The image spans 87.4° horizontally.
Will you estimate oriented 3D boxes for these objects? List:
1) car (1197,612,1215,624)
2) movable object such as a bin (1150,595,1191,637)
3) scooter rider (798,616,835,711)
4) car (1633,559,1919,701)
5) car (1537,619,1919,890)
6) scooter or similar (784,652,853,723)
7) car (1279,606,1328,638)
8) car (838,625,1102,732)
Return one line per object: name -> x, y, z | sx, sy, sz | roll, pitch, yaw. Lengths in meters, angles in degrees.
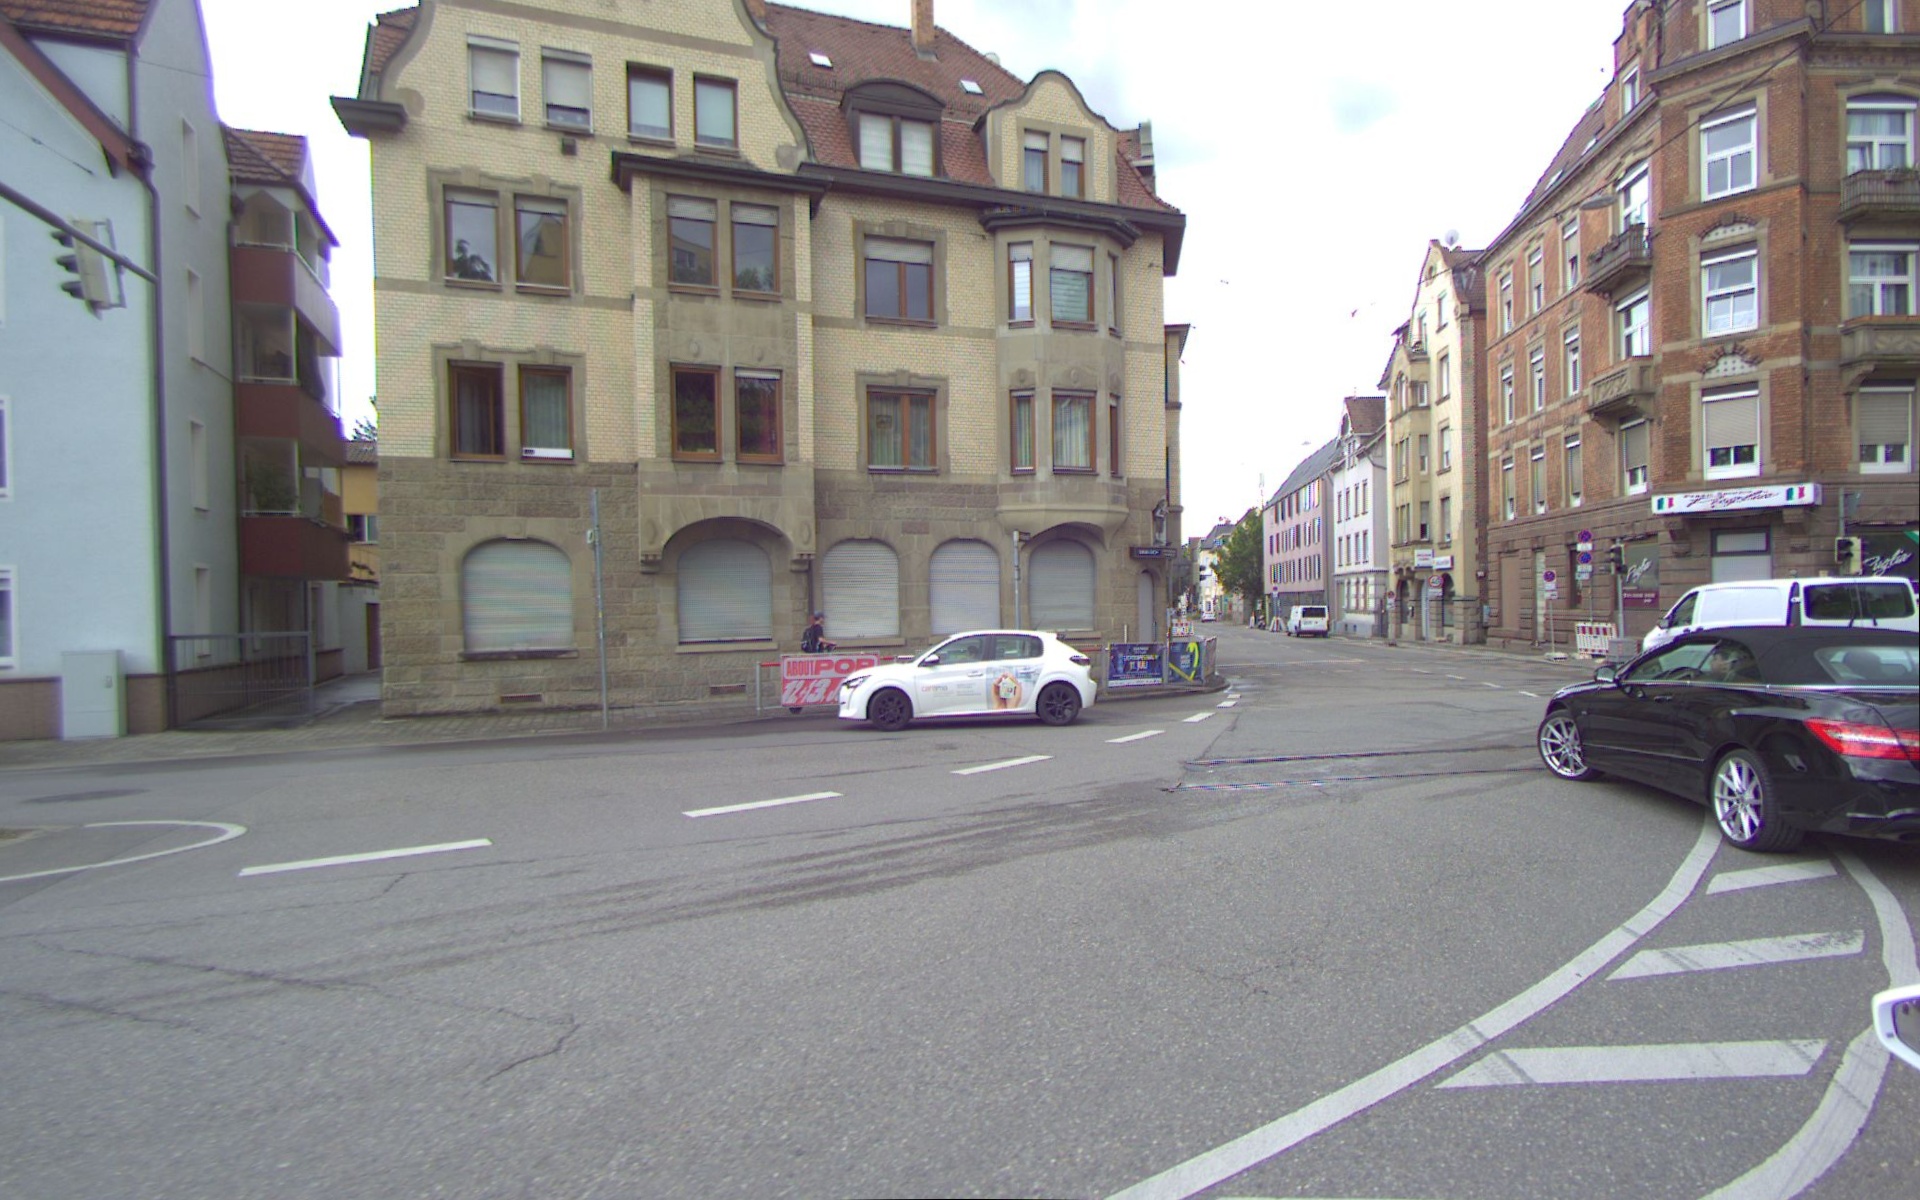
car -> 33.326, 2.425, 136.110 | 1.959, 1.505, 4.002 | 3, 0, 8
movable object such as a bin -> 15.248, 1.157, 73.016 | 2.494, 2.862, 4.542 | -3, -1, 8
scooter rider -> -2.676, 1.171, 18.672 | 0.569, 1.728, 0.487 | 0, -2, -21
car -> 13.117, 0.556, 16.406 | 1.859, 1.953, 4.649 | -2, -3, 12
car -> 6.024, 0.920, 7.377 | 1.731, 1.427, 4.403 | -2, -3, 11
scooter or similar -> -2.625, 1.605, 18.678 | 1.208, 1.258, 0.377 | 0, -2, -22
car -> 22.657, 1.415, 66.371 | 2.092, 2.031, 4.929 | 1, -1, 7
car -> 0.139, 1.198, 15.567 | 3.841, 1.485, 1.687 | -1, -3, -1
